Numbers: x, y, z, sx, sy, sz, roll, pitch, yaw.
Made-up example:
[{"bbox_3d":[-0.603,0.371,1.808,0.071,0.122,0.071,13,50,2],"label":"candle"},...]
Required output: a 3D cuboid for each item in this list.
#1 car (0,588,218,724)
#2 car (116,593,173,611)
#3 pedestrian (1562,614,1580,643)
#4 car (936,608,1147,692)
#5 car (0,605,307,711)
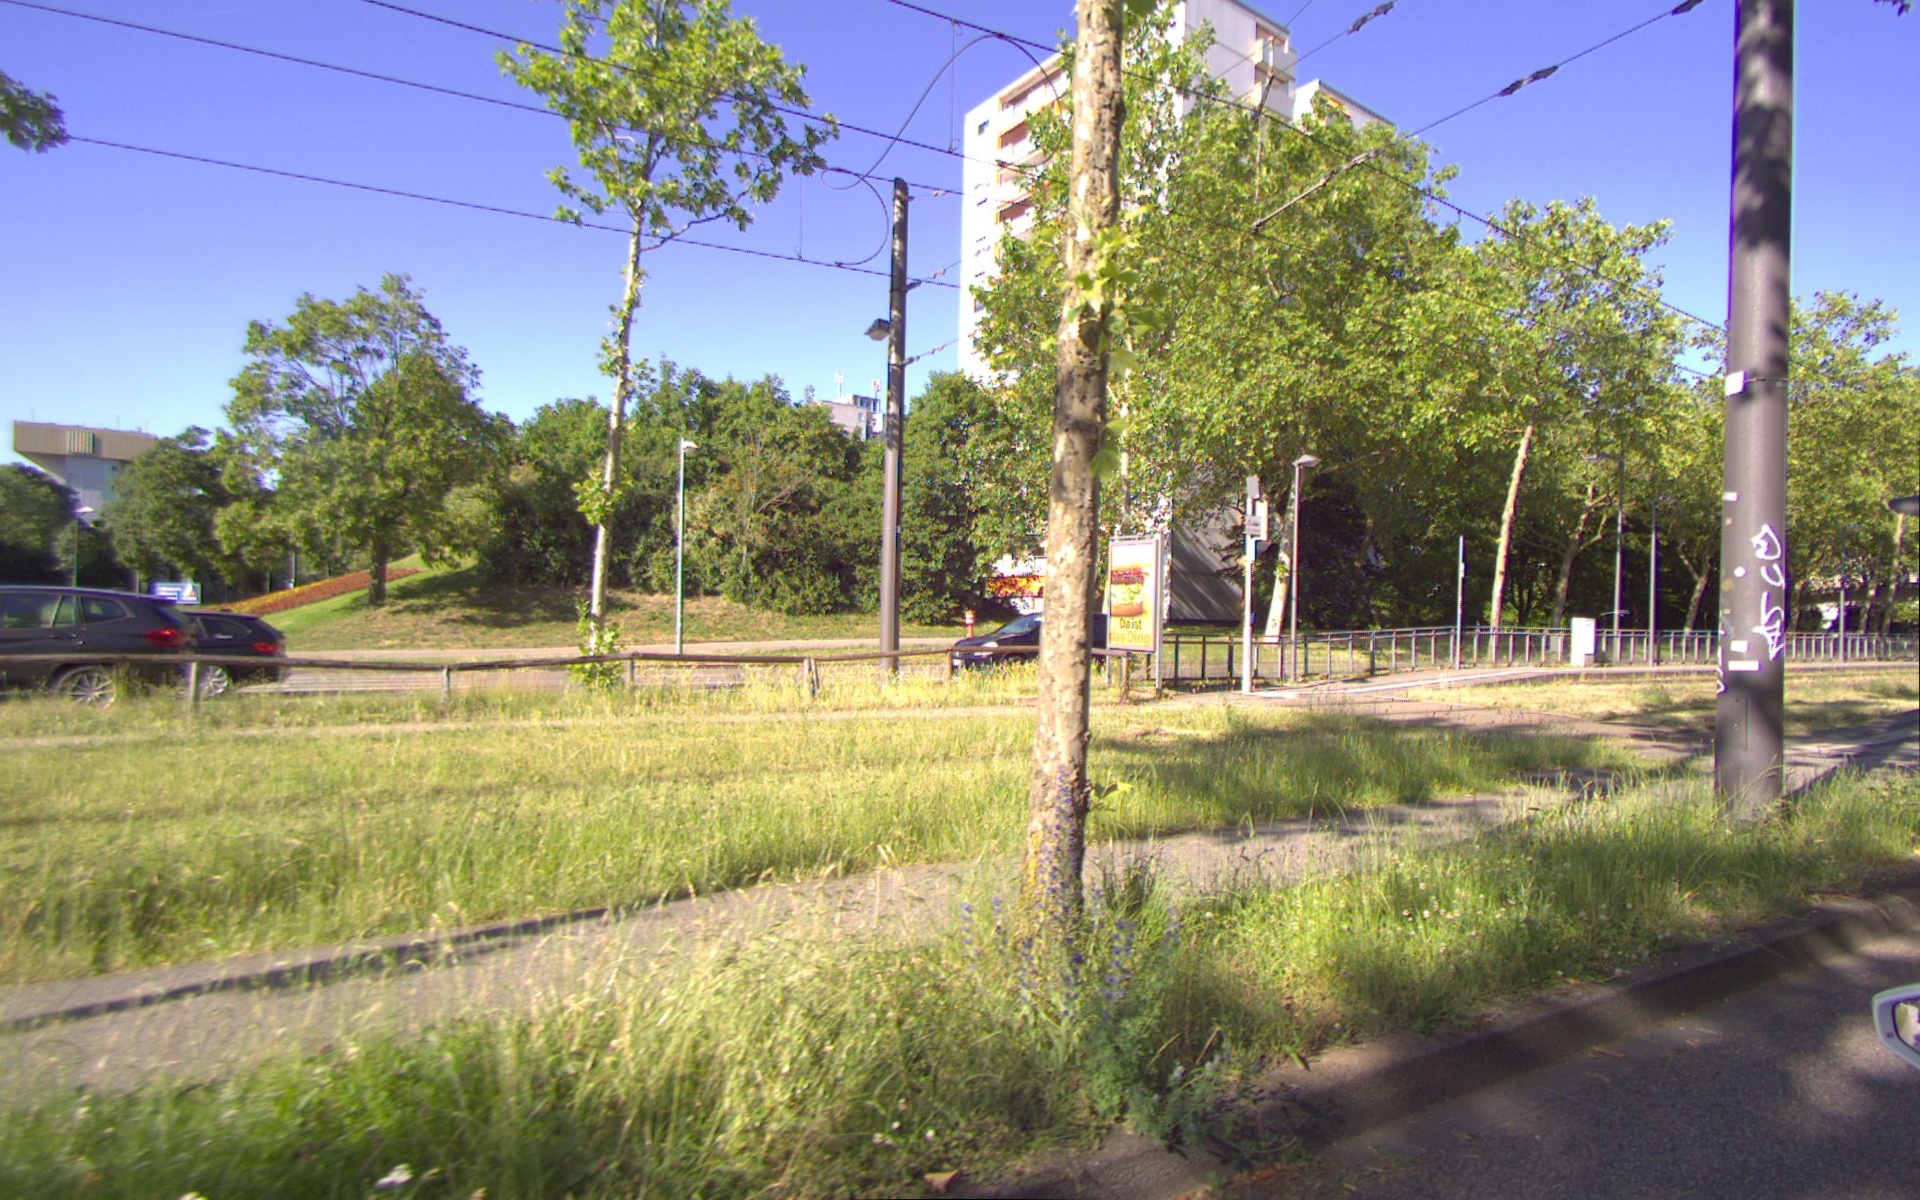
[{"bbox_3d":[-12.184,0.677,12.774,4.183,1.638,1.786,1,-1,-30],"label":"car"},{"bbox_3d":[-70.769,0.174,87.250,1.765,1.530,3.998,0,-1,-3],"label":"car"},{"bbox_3d":[35.885,1.665,59.025,0.642,1.683,0.645,1,0,-29],"label":"pedestrian"},{"bbox_3d":[1.762,1.039,21.417,4.217,1.629,1.786,1,-1,-30],"label":"car"},{"bbox_3d":[-13.065,0.888,16.087,4.217,1.530,1.786,2,-1,-30],"label":"car"}]
